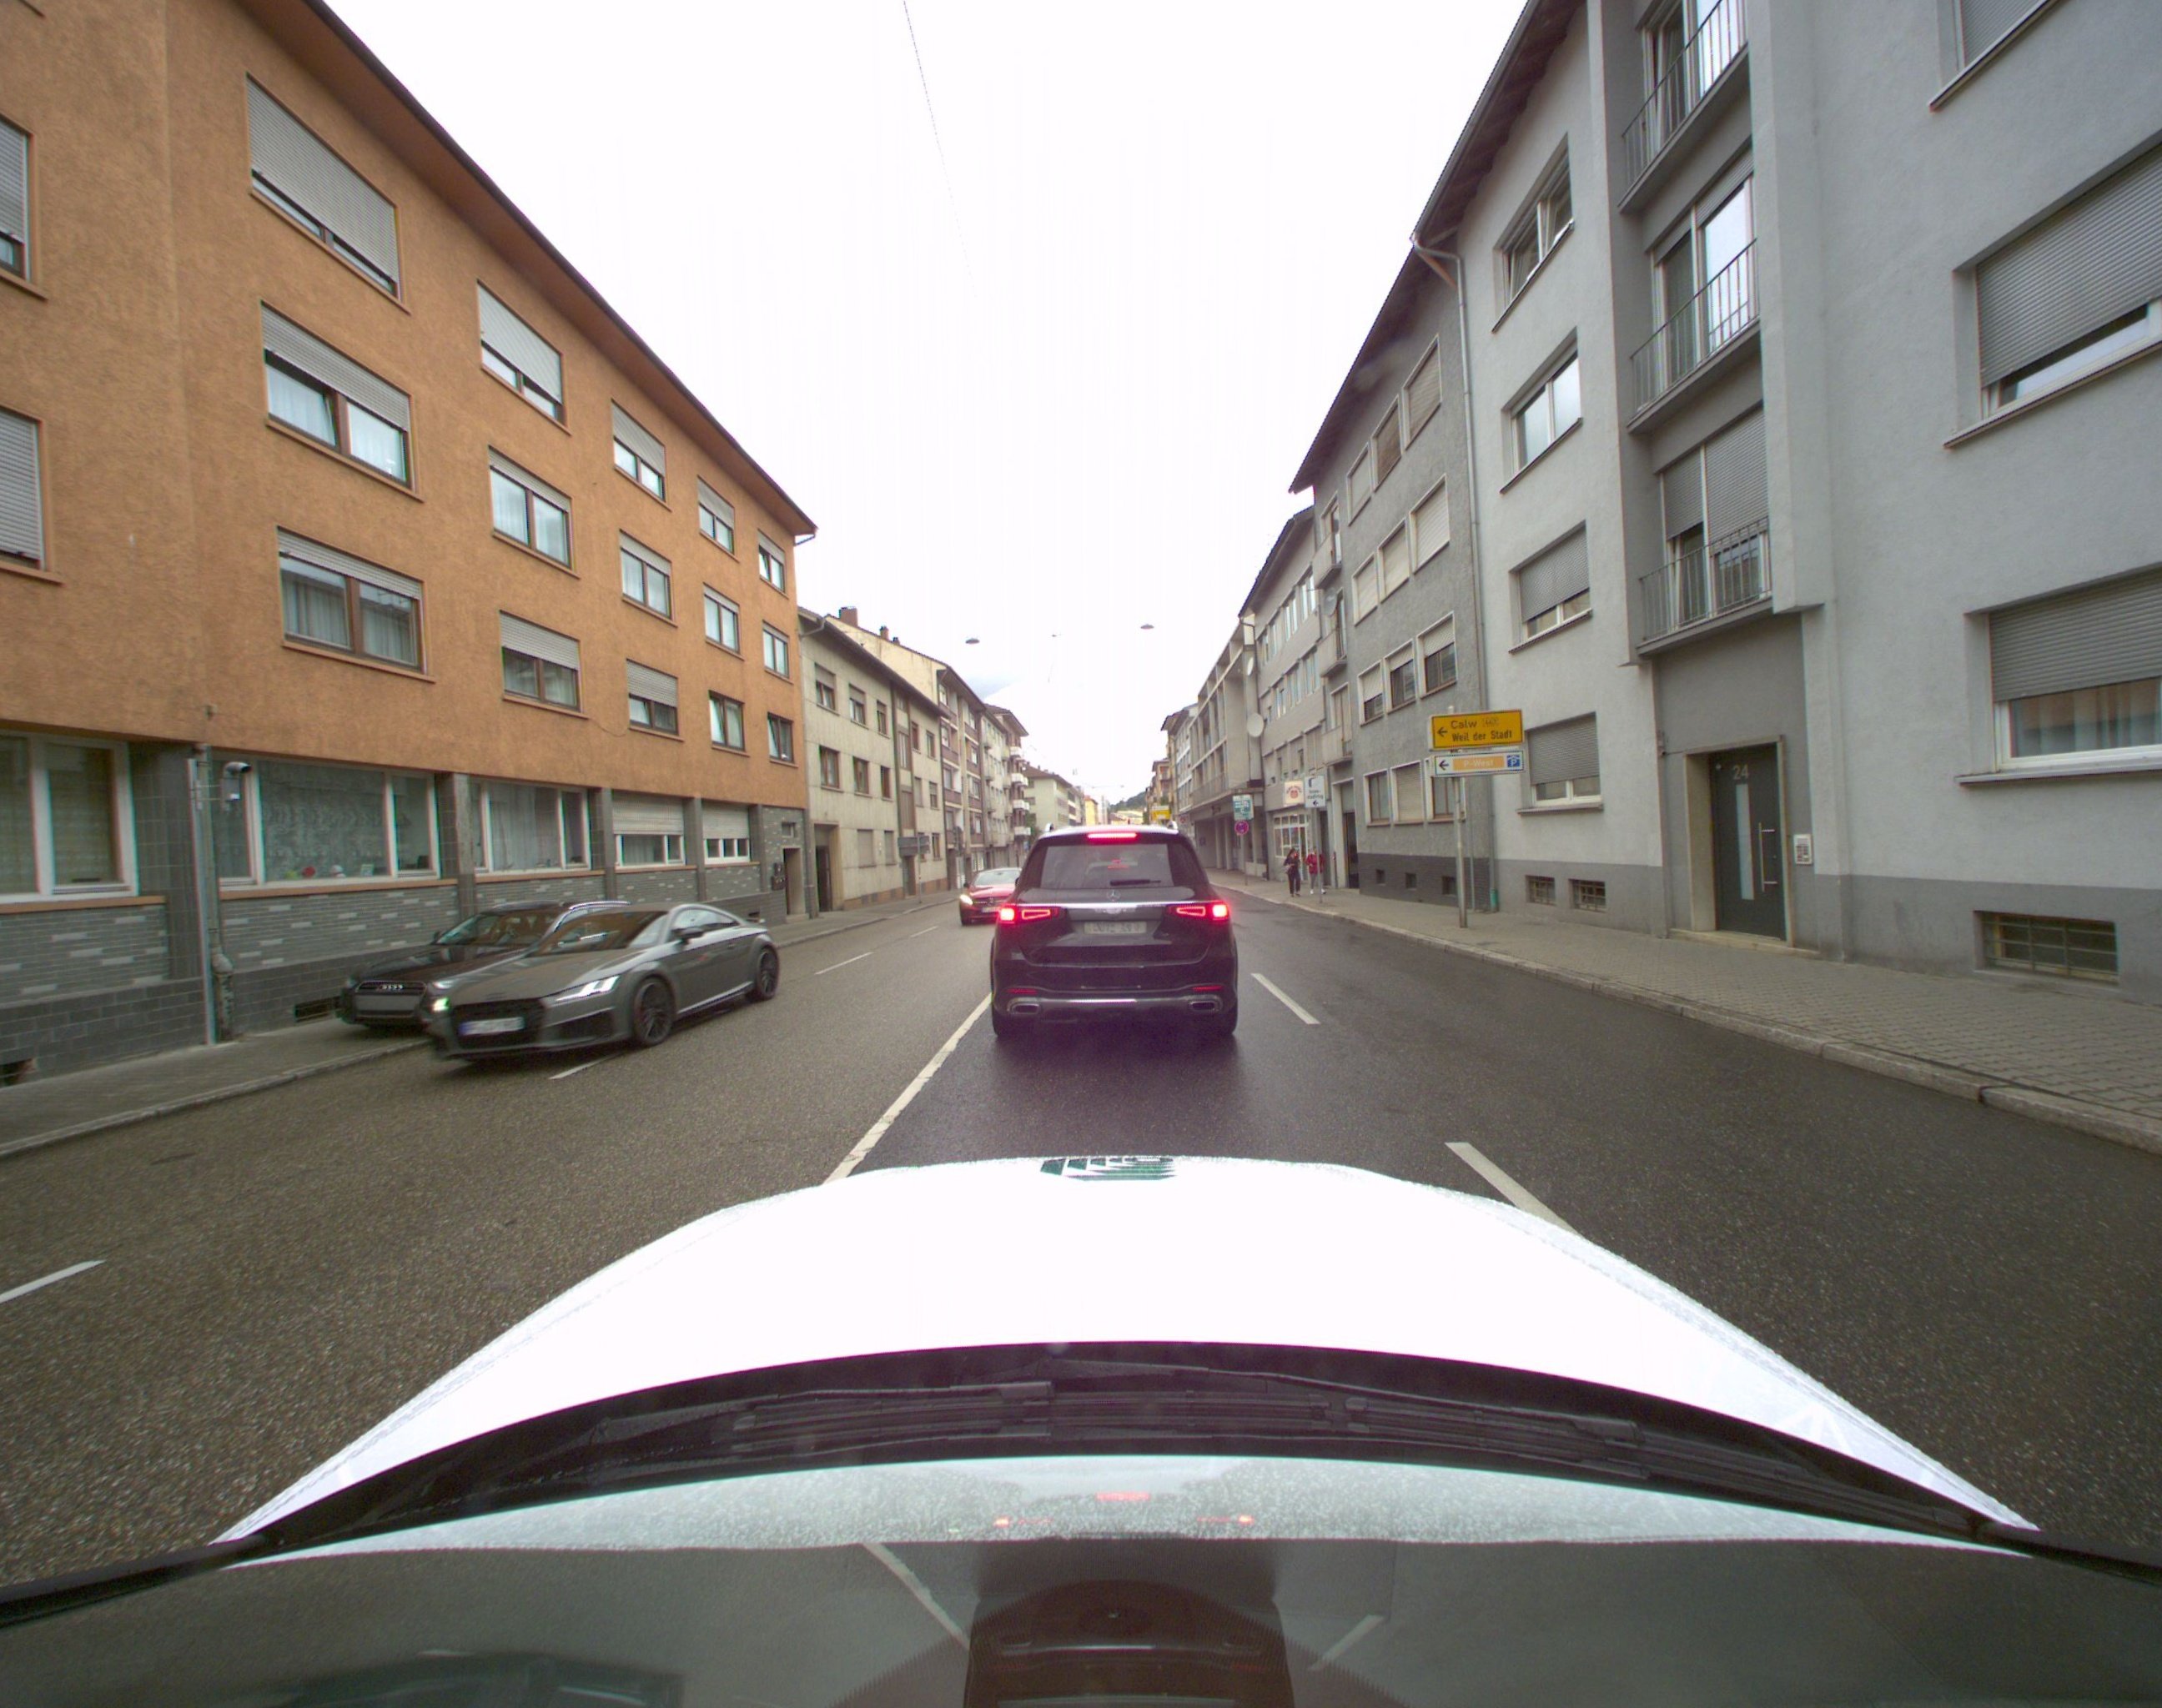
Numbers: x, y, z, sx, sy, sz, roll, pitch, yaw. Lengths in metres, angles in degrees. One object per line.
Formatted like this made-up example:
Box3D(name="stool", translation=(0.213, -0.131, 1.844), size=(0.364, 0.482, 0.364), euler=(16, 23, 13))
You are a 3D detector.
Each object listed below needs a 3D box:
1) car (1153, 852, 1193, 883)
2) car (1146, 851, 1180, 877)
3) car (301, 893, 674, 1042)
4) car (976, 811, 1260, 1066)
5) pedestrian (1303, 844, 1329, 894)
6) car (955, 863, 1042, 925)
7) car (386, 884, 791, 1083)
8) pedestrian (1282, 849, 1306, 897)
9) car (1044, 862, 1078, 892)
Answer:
Box3D(name="car", translation=(4.963, 0.702, 44.352), size=(1.760, 1.580, 4.002), euler=(-2, 0, 2))
Box3D(name="car", translation=(5.762, 0.685, 57.797), size=(1.934, 1.775, 4.746), euler=(-1, 0, 0))
Box3D(name="car", translation=(-7.743, 1.372, 11.329), size=(1.789, 1.438, 4.528), euler=(0, 0, 1))
Box3D(name="car", translation=(0.312, 0.608, 7.822), size=(2.018, 1.806, 4.001), euler=(0, 0, 1))
Box3D(name="pedestrian", translation=(7.648, 0.477, 26.488), size=(0.558, 1.578, 0.526), euler=(-5, 0, 1))
Box3D(name="car", translation=(-2.178, 1.029, 22.600), size=(1.718, 1.390, 4.341), euler=(-4, 0, 2))
Box3D(name="car", translation=(-4.828, 1.160, 8.774), size=(1.760, 1.346, 3.891), euler=(-6, 0, 2))
Box3D(name="pedestrian", translation=(6.913, 0.603, 26.488), size=(0.504, 1.500, 0.562), euler=(-5, 0, 1))
Box3D(name="car", translation=(-1.158, 1.347, 49.339), size=(1.727, 1.575, 4.012), euler=(-6, 0, 1))
